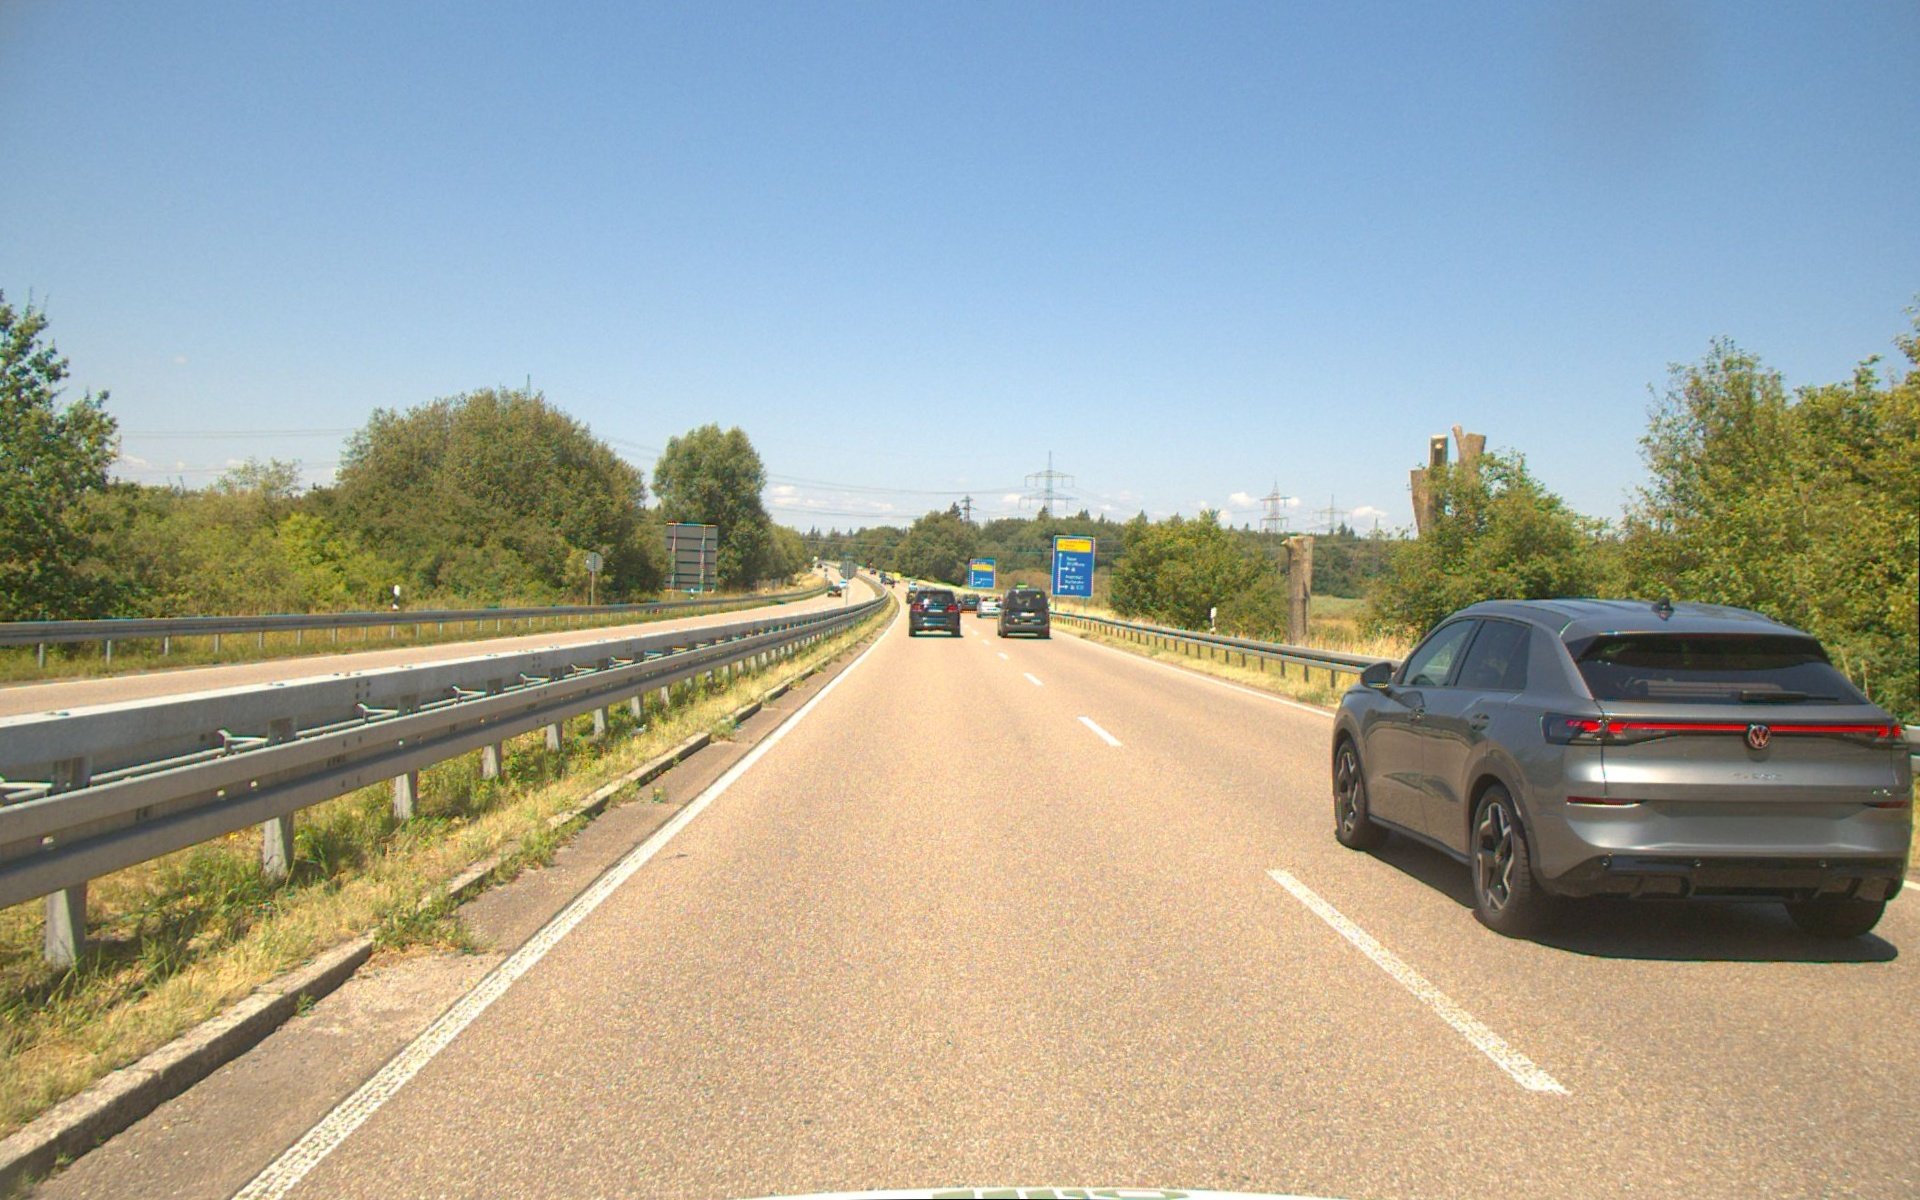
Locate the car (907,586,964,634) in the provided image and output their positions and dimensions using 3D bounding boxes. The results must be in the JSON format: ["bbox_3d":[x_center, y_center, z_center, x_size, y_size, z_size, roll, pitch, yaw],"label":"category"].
[{"bbox_3d":[-0.947,0.365,61.371,1.954,1.683,3.998,1,0,-3],"label":"car"}]

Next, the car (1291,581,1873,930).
[{"bbox_3d":[3.273,0.699,9.627,1.749,1.580,4.018,1,1,-2],"label":"car"}]

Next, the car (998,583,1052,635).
[{"bbox_3d":[2.417,0.311,62.394,1.744,1.848,4.212,2,1,-1],"label":"car"}]

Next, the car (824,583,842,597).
[{"bbox_3d":[-16.451,-1.346,214.316,1.954,1.665,4.872,4,1,-1],"label":"car"}]

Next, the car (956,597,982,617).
[{"bbox_3d":[0.686,0.502,124.535,1.783,1.439,3.999,1,1,-2],"label":"car"}]

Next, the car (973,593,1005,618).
[{"bbox_3d":[1.863,0.353,105.868,1.743,1.505,4.313,1,0,-3],"label":"car"}]

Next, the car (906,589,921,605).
[{"bbox_3d":[-5.016,-0.340,178.395,1.485,1.500,3.065,4,1,-3],"label":"car"}]
